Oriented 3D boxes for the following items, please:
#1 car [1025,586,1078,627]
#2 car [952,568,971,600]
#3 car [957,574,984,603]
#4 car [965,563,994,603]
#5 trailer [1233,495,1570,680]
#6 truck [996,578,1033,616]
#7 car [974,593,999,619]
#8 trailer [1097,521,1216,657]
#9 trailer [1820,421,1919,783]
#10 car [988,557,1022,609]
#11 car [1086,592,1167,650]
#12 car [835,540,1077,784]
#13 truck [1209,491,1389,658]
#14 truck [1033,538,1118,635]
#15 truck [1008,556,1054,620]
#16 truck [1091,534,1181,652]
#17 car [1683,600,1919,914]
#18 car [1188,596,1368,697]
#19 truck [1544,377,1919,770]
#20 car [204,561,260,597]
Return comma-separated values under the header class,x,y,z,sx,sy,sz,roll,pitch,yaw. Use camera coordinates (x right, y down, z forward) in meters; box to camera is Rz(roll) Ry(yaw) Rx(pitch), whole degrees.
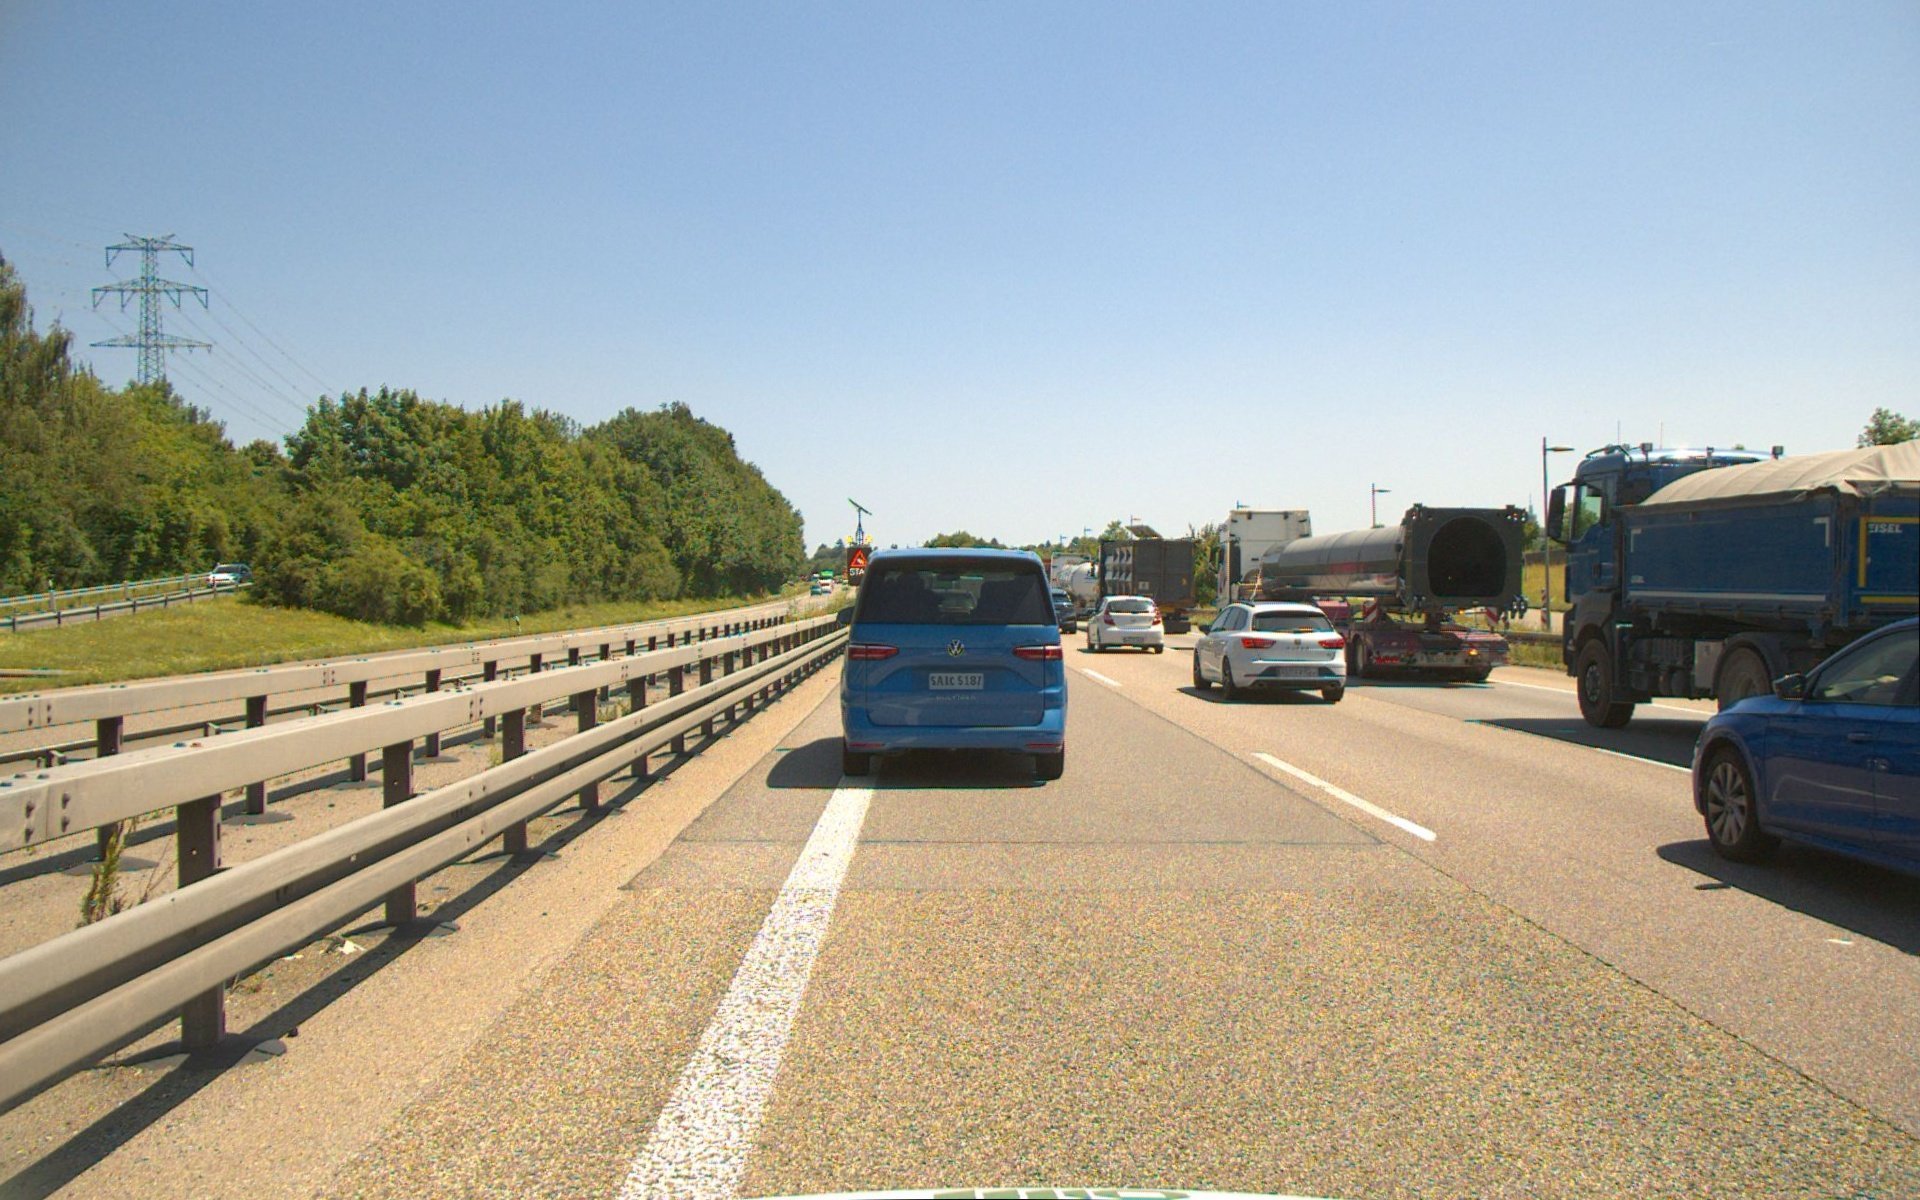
class,x,y,z,sx,sy,sz,roll,pitch,yaw
car,3.544,0.266,64.655,1.745,1.551,3.999,1,-1,-1
car,0.172,-2.451,257.466,2.661,4.795,11.557,1,-1,-1
car,1.066,-1.105,164.919,2.499,2.765,5.619,1,-1,-1
car,2.653,-2.281,226.985,3.155,5.349,8.136,1,-1,-4
trailer,8.925,-0.142,36.442,3.571,3.133,15.774,1,-1,1
truck,2.789,-0.111,85.059,1.690,1.890,3.999,1,-1,-1
car,2.205,0.519,137.471,1.953,2.049,3.999,1,-1,-1
trailer,8.163,-0.363,70.786,3.571,5.226,13.075,1,-1,0
trailer,9.039,0.039,10.139,2.688,2.886,9.114,1,0,-1
car,4.747,-1.769,175.856,3.153,5.349,8.142,1,-1,-1
car,4.456,0.572,44.816,1.802,1.480,4.000,1,-1,1
car,-0.013,0.504,14.874,1.862,1.870,4.000,1,-1,0
truck,9.141,-0.616,45.624,3.551,4.166,7.525,1,-1,1
truck,6.757,-0.656,99.226,3.548,5.304,15.683,1,-1,-1
truck,5.800,-0.922,136.518,3.006,5.006,10.687,1,-1,-1
truck,8.147,-0.299,77.354,3.583,5.270,5.708,1,-1,0
car,5.319,0.748,8.021,1.671,1.466,4.427,1,-1,0
car,4.752,0.650,25.254,1.830,1.385,3.998,1,0,-2
truck,8.951,-0.231,17.815,2.688,3.369,7.131,1,0,-1
car,-40.415,-1.173,91.915,1.604,1.703,4.893,1,4,-9
